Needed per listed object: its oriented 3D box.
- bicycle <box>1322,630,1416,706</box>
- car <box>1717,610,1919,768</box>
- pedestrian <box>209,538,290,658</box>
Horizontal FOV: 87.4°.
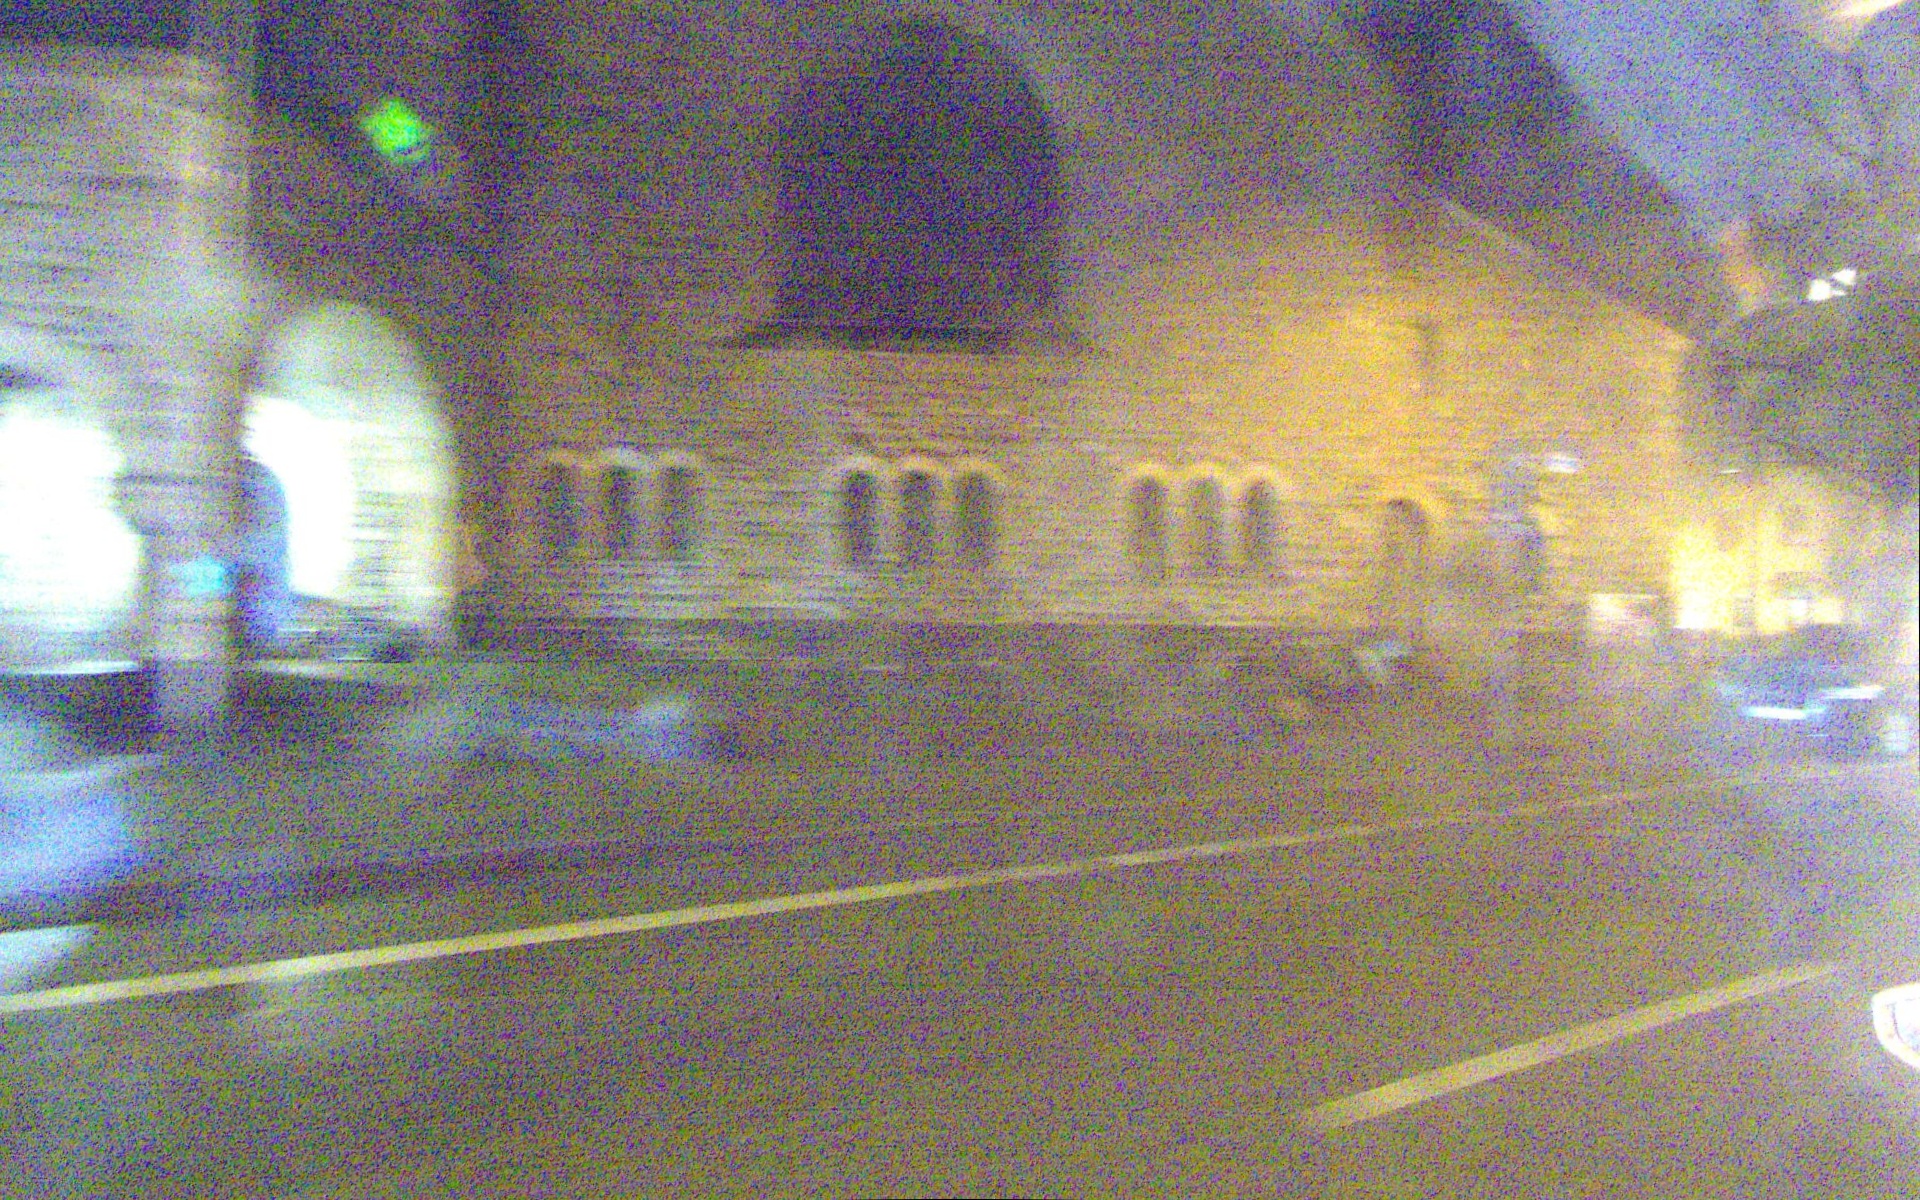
[{"bbox_3d":[6.946,1.123,17.160,0.532,1.196,1.967,1,-1,-10],"label":"bicycle"},{"bbox_3d":[11.278,1.017,13.178,1.791,1.692,4.388,1,-1,42],"label":"car"},{"bbox_3d":[-10.473,-0.027,14.814,0.618,1.698,0.790,1,0,35],"label":"pedestrian"}]
